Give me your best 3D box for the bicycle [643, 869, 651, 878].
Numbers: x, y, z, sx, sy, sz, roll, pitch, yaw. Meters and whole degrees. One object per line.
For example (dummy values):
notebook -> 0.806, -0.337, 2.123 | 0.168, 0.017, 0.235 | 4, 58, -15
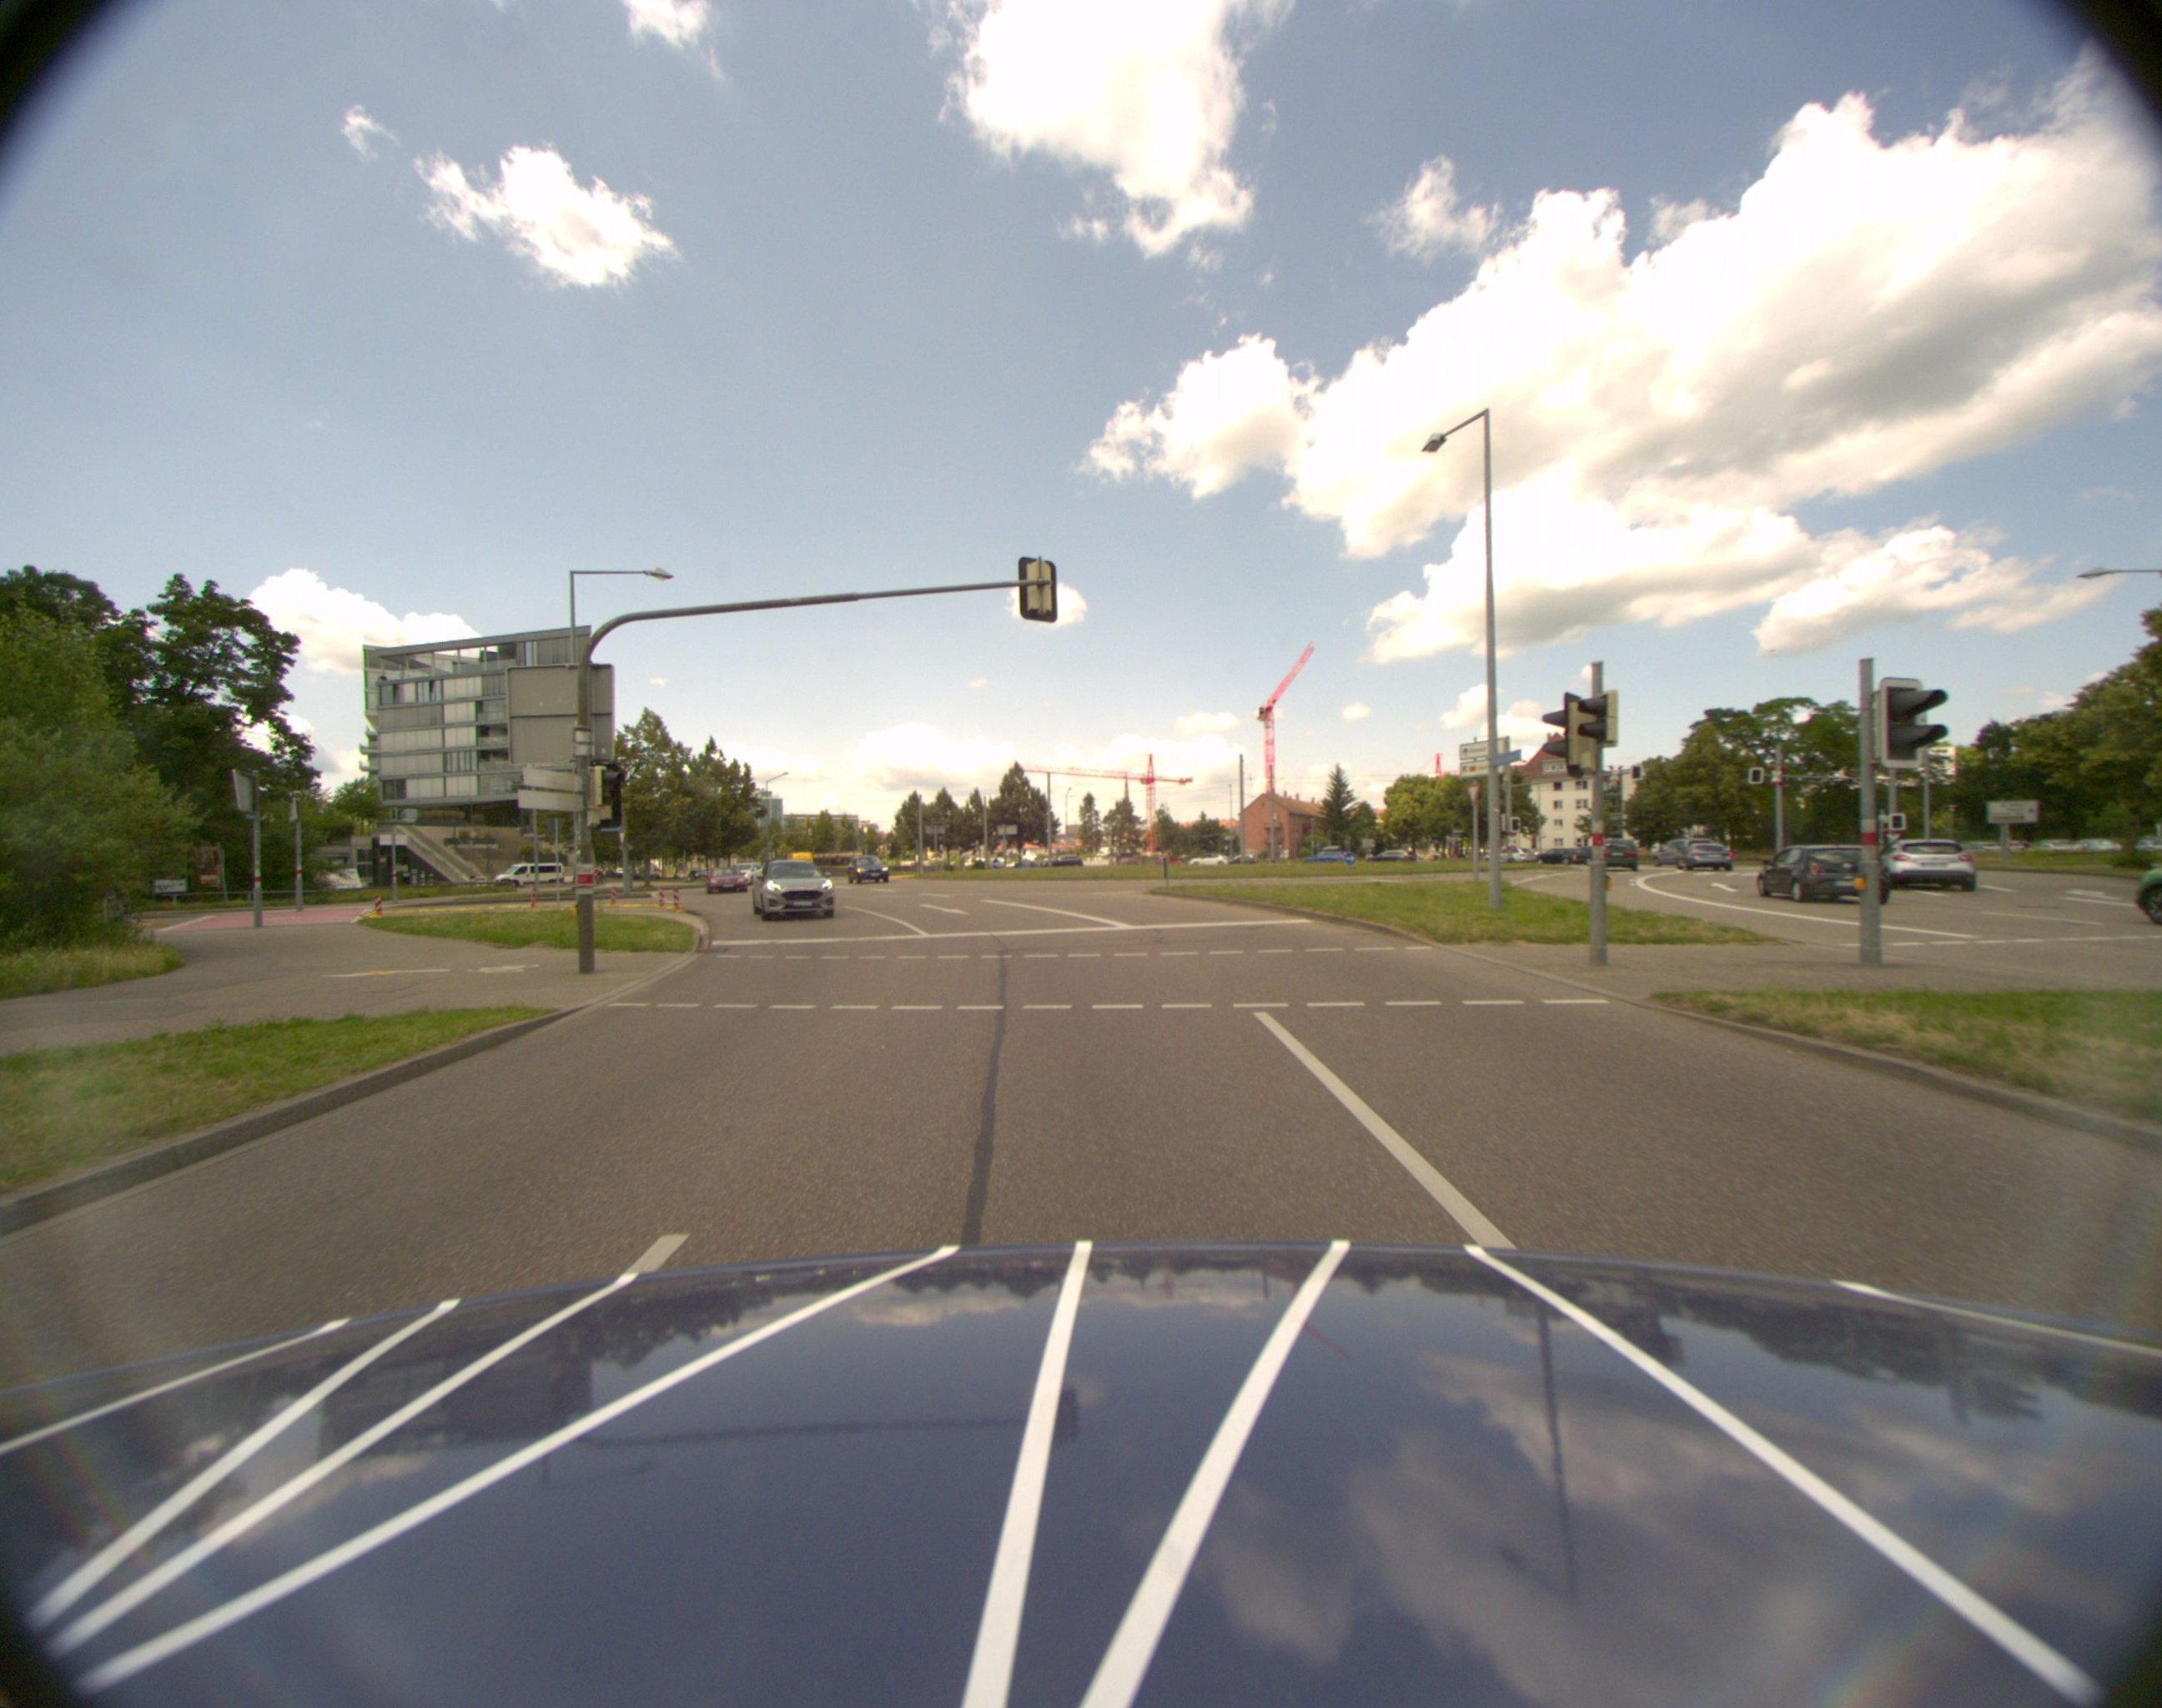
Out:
bicycle -> -56.567, 2.573, 99.019 | 0.517, 1.082, 1.744 | -1, -1, -42

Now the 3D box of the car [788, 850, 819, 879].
car -> -28.180, 1.022, 77.034 | 2.288, 2.837, 7.240 | -1, 1, -24

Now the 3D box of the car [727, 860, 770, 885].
car -> -23.395, 1.273, 53.613 | 1.675, 1.589, 4.124 | -3, 1, -9

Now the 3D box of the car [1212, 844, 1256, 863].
car -> 17.488, -0.039, 86.970 | 4.719, 2.002, 2.001 | -2, 0, 8

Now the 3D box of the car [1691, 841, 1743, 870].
car -> 33.226, 0.044, 39.792 | 1.906, 1.415, 4.200 | -1, 0, 37

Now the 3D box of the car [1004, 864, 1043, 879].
car -> -7.275, 2.279, 96.589 | 4.713, 1.780, 1.852 | -2, 0, 32

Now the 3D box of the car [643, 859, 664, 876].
car -> -66.470, 2.089, 118.014 | 2.166, 2.380, 6.262 | -4, 2, -34

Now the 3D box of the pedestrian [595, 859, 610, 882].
pedestrian -> -44.153, 1.543, 70.148 | 0.755, 2.003, 1.229 | -5, 3, -21

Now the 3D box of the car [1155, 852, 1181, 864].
car -> 13.852, 0.713, 121.268 | 2.089, 1.841, 5.176 | -2, 0, -20

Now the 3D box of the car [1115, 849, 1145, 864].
car -> 7.562, 0.422, 118.206 | 2.396, 2.184, 6.830 | -2, 0, -15

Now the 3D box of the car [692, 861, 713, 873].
car -> -58.068, 2.055, 116.432 | 2.003, 1.681, 4.284 | -4, 2, -37

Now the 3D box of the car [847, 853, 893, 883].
car -> -12.520, 0.775, 44.888 | 1.777, 1.590, 4.118 | -4, 2, -26

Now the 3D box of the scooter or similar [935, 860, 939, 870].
scooter or similar -> -18.885, 1.456, 99.593 | 0.419, 1.295, 1.343 | -2, 3, -18

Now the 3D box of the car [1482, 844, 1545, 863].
car -> 36.966, 0.012, 65.089 | 2.125, 1.512, 4.502 | -2, 0, -13

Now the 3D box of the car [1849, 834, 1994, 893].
car -> 26.376, 0.252, 24.054 | 1.994, 1.676, 4.797 | -1, 0, 34

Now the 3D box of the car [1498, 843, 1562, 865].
car -> 40.254, 0.040, 68.239 | 2.127, 1.810, 4.655 | -2, 0, -19

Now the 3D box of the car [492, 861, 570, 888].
car -> -49.469, 1.833, 68.424 | 2.143, 2.135, 5.161 | -2, 0, 32

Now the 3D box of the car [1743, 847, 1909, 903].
car -> 19.453, 0.476, 20.122 | 1.839, 1.303, 4.797 | 1, 1, 28

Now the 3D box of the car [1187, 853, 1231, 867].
car -> 13.459, 0.670, 79.950 | 4.302, 1.321, 2.003 | -2, 0, 19

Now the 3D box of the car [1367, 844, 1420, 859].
car -> 31.011, -0.201, 75.407 | 1.958, 1.315, 4.480 | -2, 0, -35

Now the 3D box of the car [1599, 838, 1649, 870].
car -> 28.637, -0.040, 40.036 | 1.908, 1.583, 4.601 | -1, 1, 39

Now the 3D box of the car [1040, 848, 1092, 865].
car -> -1.627, 0.290, 79.845 | 5.073, 1.665, 1.998 | -2, 0, -15

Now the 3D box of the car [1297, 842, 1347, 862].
car -> 23.796, -0.193, 75.127 | 4.396, 1.788, 1.760 | -2, 0, 37

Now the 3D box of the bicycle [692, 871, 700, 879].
bicycle -> -40.247, 2.231, 79.414 | 0.359, 0.821, 1.469 | -2, 0, -44

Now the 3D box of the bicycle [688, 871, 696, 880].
bicycle -> -40.696, 2.252, 79.505 | 0.359, 0.821, 1.469 | -2, 0, -44

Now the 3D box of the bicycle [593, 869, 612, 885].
bicycle -> -44.132, 2.125, 70.115 | 0.813, 1.238, 2.406 | -6, 4, -17

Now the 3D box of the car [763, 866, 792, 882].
car -> -35.956, 2.329, 89.868 | 2.003, 1.751, 4.284 | -4, 2, -37

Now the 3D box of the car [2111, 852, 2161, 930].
car -> 19.077, 0.648, 11.708 | 1.617, 1.340, 4.176 | 1, 0, 17

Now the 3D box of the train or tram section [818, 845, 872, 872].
train or tram section -> -35.655, 0.742, 114.255 | 2.857, 3.717, 13.441 | -2, 0, -39

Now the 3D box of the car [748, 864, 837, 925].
car -> -7.995, 1.021, 20.845 | 1.677, 1.462, 4.083 | -2, 0, -29

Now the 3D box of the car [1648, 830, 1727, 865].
car -> 38.217, -0.401, 48.063 | 1.997, 2.002, 4.792 | -1, 0, 12

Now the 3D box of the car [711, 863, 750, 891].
car -> -17.507, 1.126, 38.038 | 1.677, 1.254, 4.084 | -1, 0, -24
